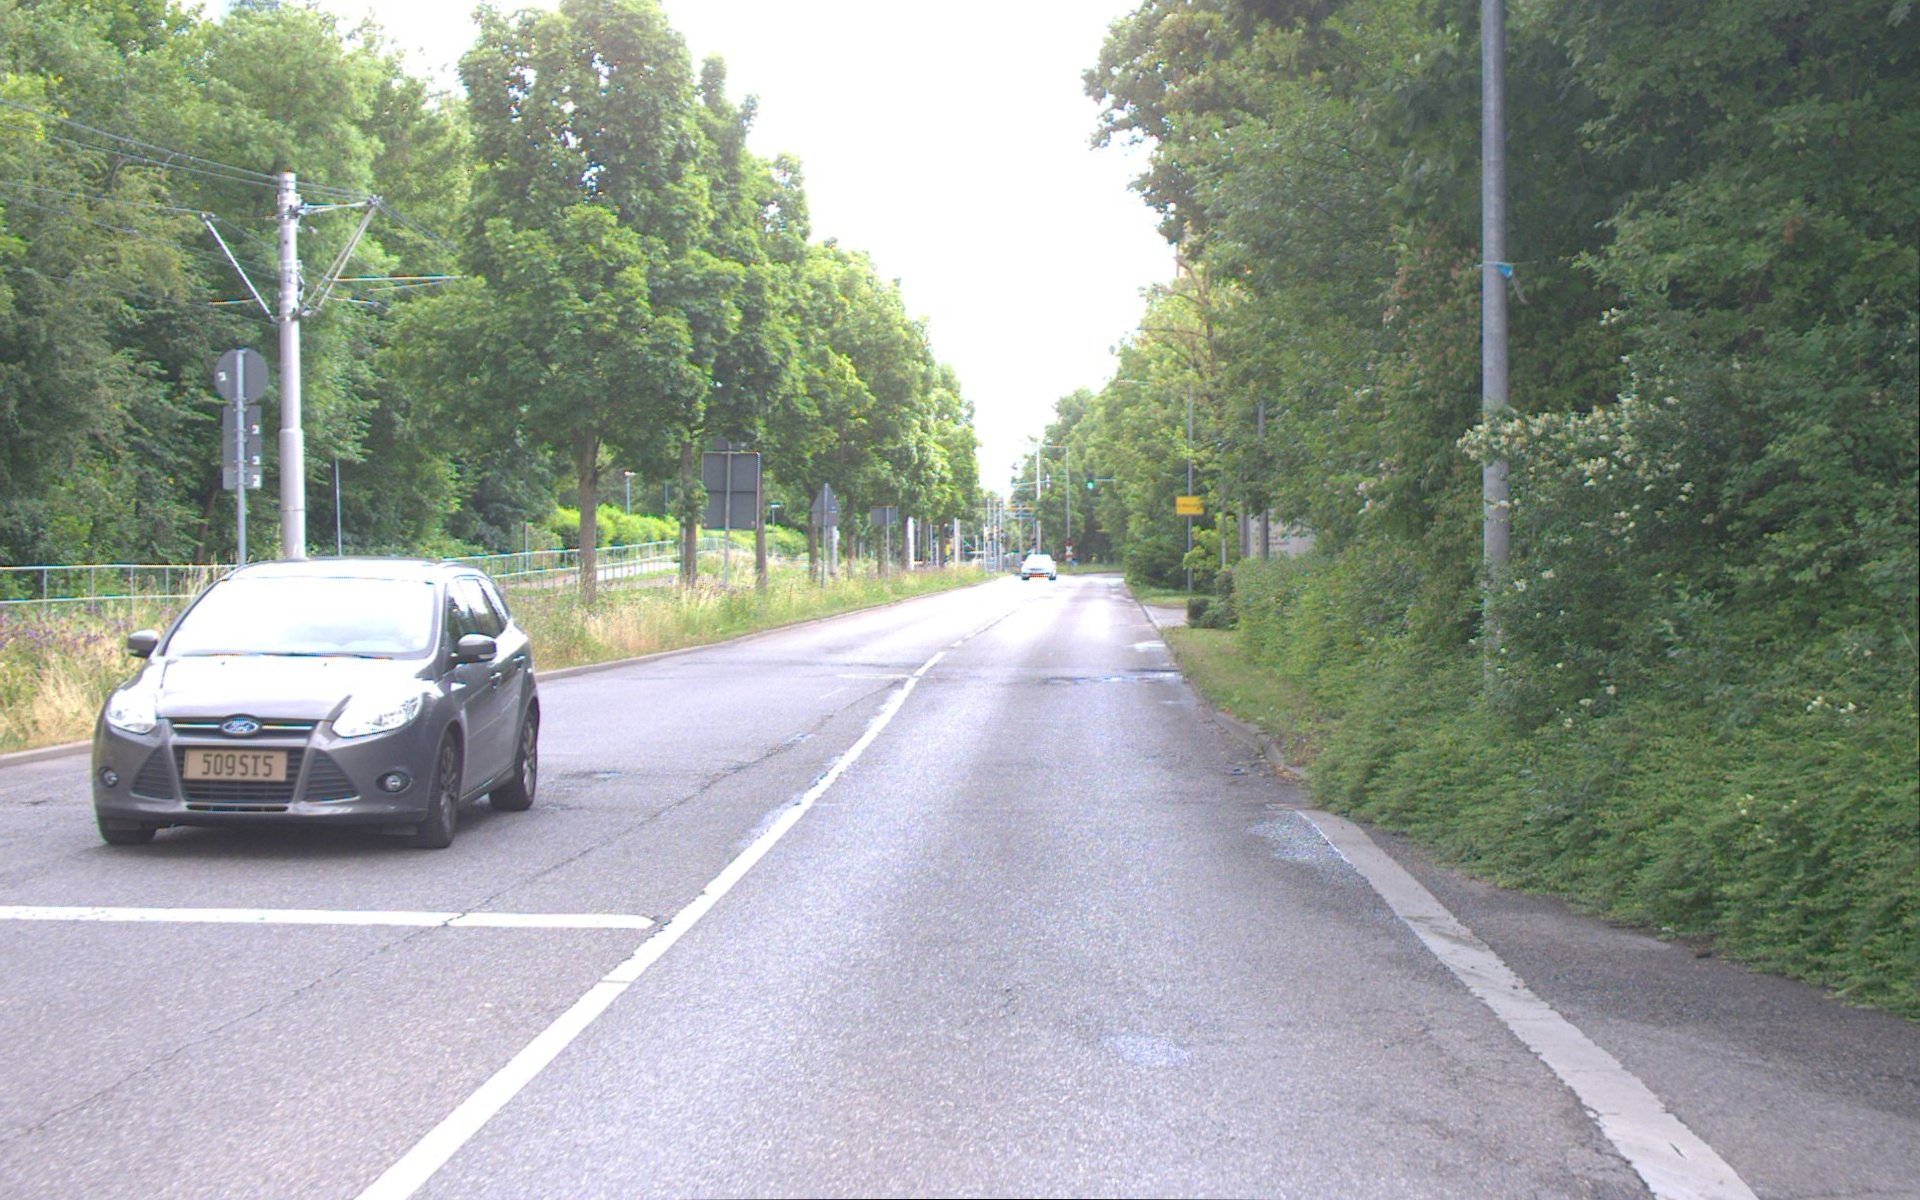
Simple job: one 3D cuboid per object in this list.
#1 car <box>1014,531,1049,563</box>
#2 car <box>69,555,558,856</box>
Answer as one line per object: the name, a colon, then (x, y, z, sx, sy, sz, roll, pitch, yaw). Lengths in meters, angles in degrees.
car: (4.093, -3.036, 196.401, 1.716, 1.624, 4.000, -6, 1, 2)
car: (-3.365, 0.481, 18.737, 1.755, 1.429, 4.429, 0, 1, 1)
